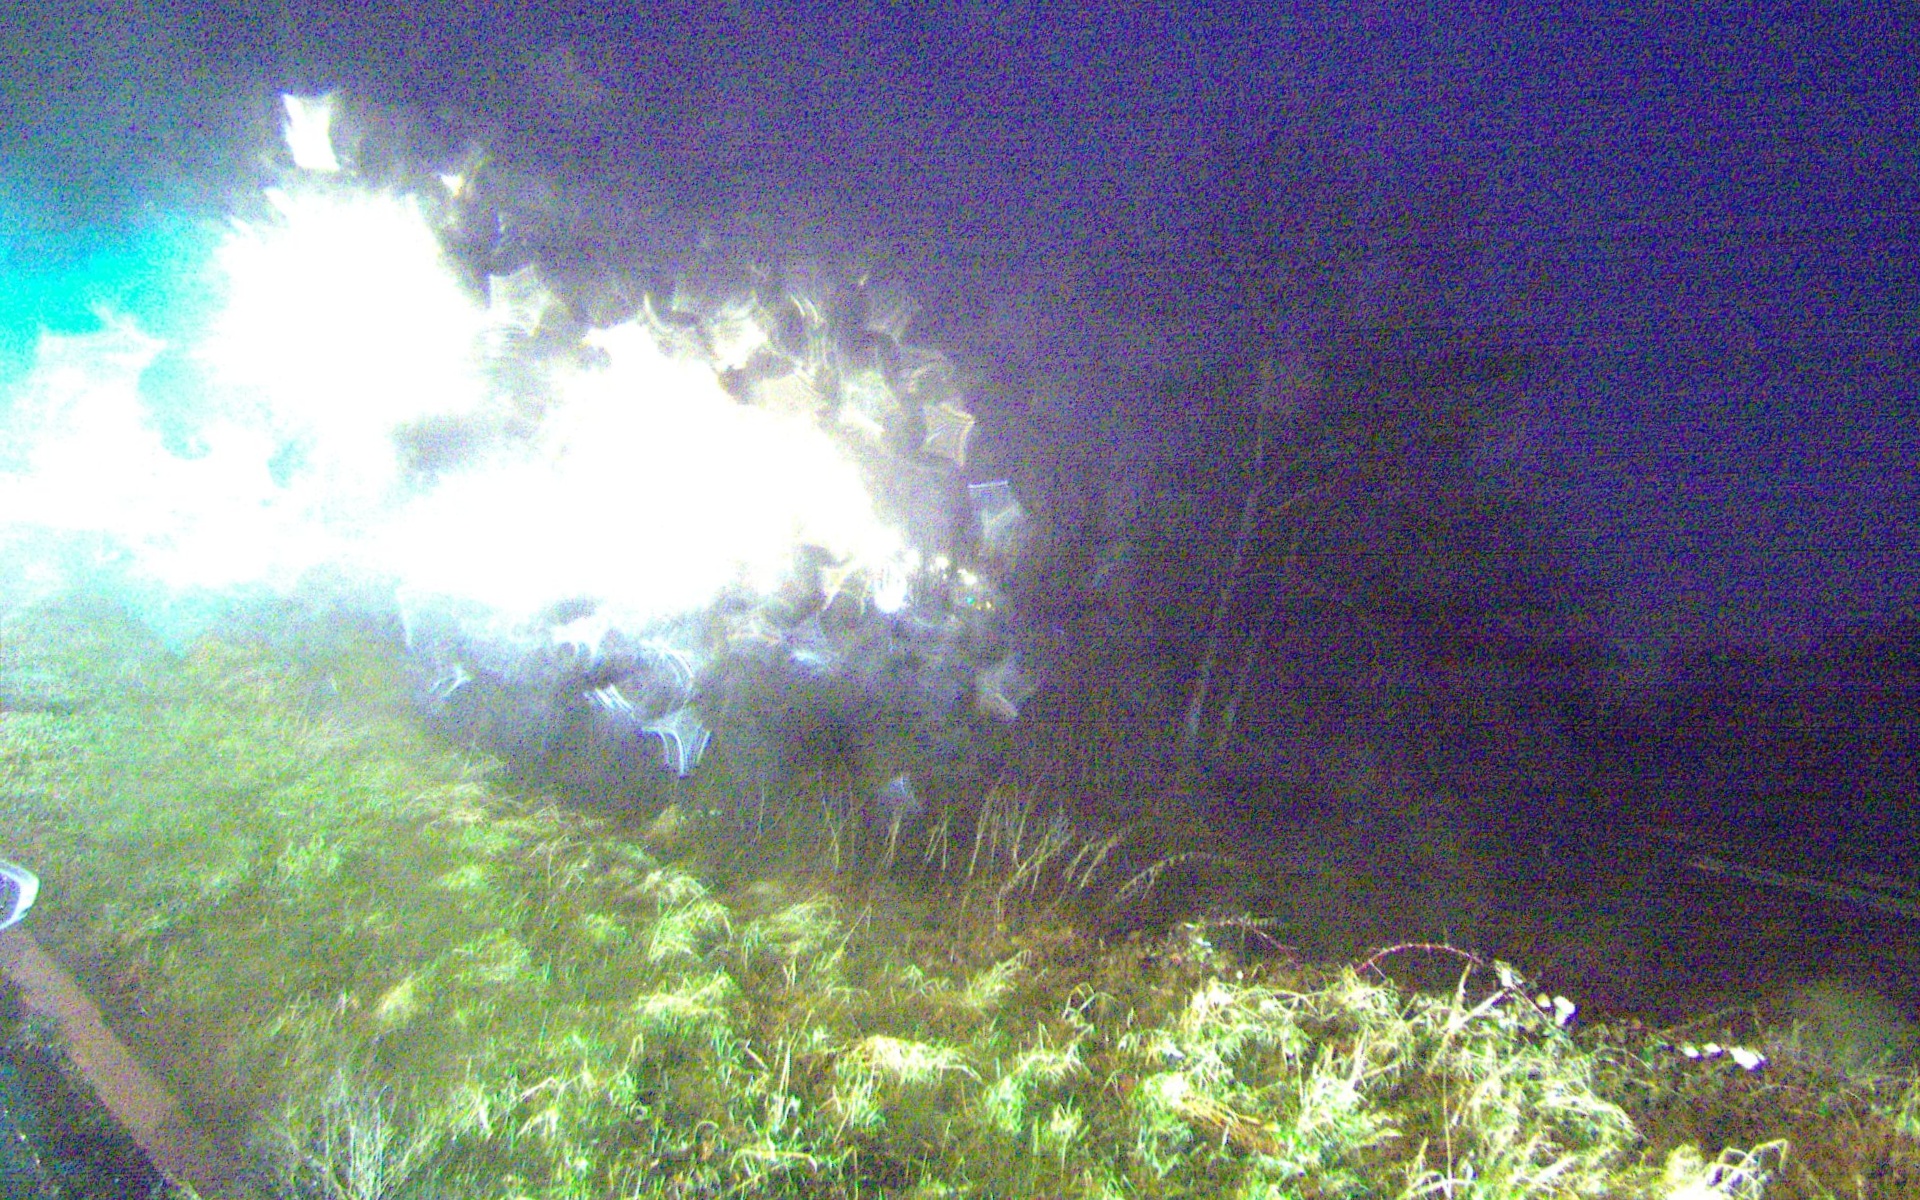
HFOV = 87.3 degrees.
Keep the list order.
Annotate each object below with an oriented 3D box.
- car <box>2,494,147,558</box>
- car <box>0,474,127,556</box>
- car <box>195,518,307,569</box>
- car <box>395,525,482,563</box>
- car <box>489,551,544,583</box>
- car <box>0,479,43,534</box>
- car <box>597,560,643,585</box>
[{"bbox_3d":[-35.211,-2.898,40.161,1.732,1.870,4.129,7,-2,5],"label":"car"},{"bbox_3d":[-38.430,-3.584,41.845,2.213,2.741,5.615,7,-2,6],"label":"car"},{"bbox_3d":[-31.482,-2.491,44.828,1.770,1.685,3.980,7,-2,5],"label":"car"},{"bbox_3d":[-27.065,-2.860,52.363,1.748,1.502,4.414,5,0,7],"label":"car"},{"bbox_3d":[-32.793,-2.415,74.463,1.794,1.870,4.005,7,-2,5],"label":"car"},{"bbox_3d":[-35.662,-3.575,35.791,1.770,1.820,4.254,7,-2,5],"label":"car"},{"bbox_3d":[-26.652,-2.159,79.046,1.784,1.597,4.307,6,0,4],"label":"car"}]
